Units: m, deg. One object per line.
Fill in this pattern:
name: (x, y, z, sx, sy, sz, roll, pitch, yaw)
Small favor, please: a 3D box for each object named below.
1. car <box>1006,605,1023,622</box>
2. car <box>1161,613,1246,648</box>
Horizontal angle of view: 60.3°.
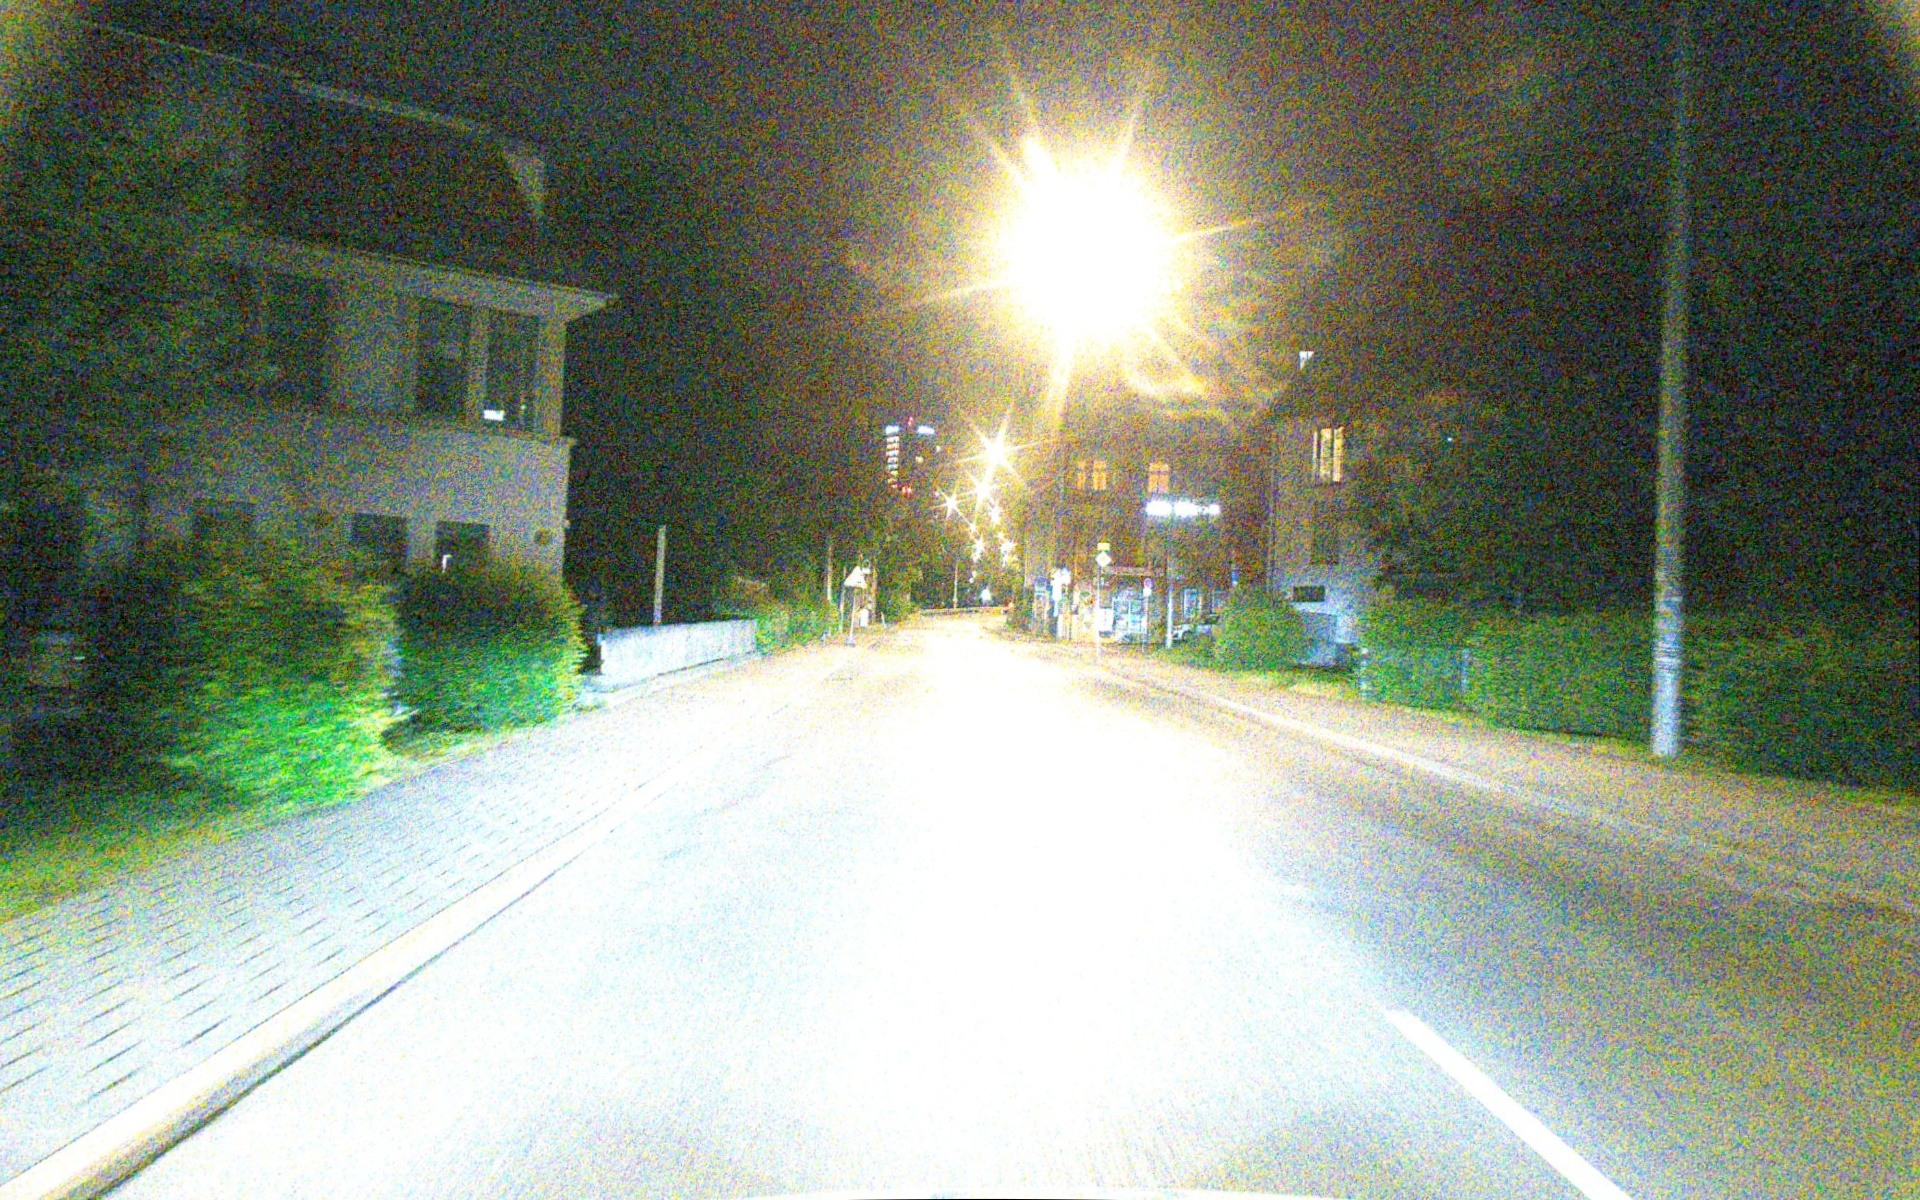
car: (6.536, 1.628, 198.412, 1.885, 1.887, 3.999, 1, -2, -1)
car: (11.708, 1.468, 79.712, 3.762, 1.571, 1.807, 2, -1, -4)
